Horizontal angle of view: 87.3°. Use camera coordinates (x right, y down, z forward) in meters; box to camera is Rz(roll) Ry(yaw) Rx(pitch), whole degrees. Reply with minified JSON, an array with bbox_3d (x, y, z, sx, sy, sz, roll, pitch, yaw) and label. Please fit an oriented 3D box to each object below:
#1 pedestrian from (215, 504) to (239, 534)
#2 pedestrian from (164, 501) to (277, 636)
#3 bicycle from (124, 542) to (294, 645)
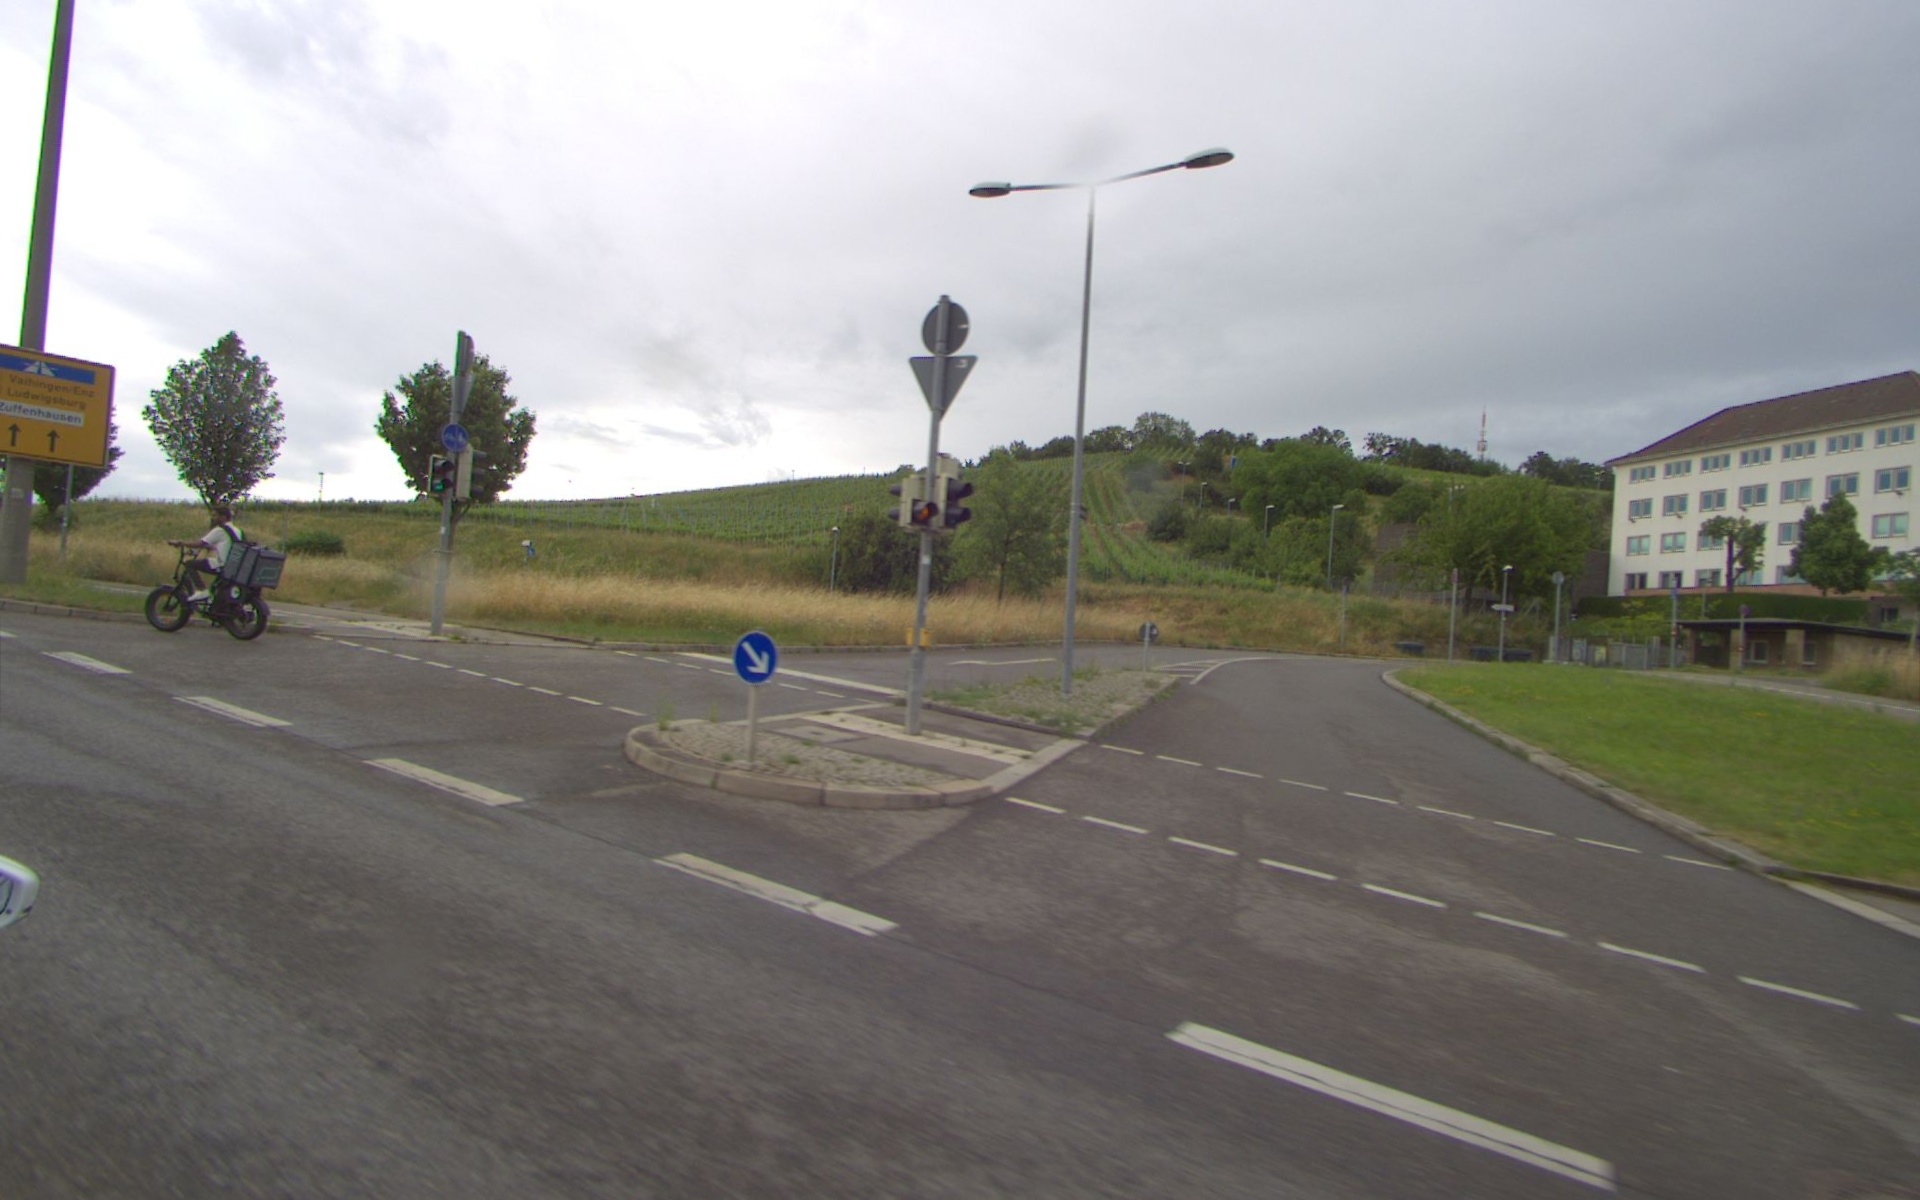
[{"bbox_3d":[-54.355,-5.999,74.582,1.035,2.039,0.780,6,1,-2],"label":"pedestrian"},{"bbox_3d":[-9.463,-0.395,12.887,0.878,1.591,0.634,6,2,5],"label":"pedestrian"},{"bbox_3d":[-9.614,-0.083,12.904,1.720,1.119,0.634,6,2,5],"label":"bicycle"}]
